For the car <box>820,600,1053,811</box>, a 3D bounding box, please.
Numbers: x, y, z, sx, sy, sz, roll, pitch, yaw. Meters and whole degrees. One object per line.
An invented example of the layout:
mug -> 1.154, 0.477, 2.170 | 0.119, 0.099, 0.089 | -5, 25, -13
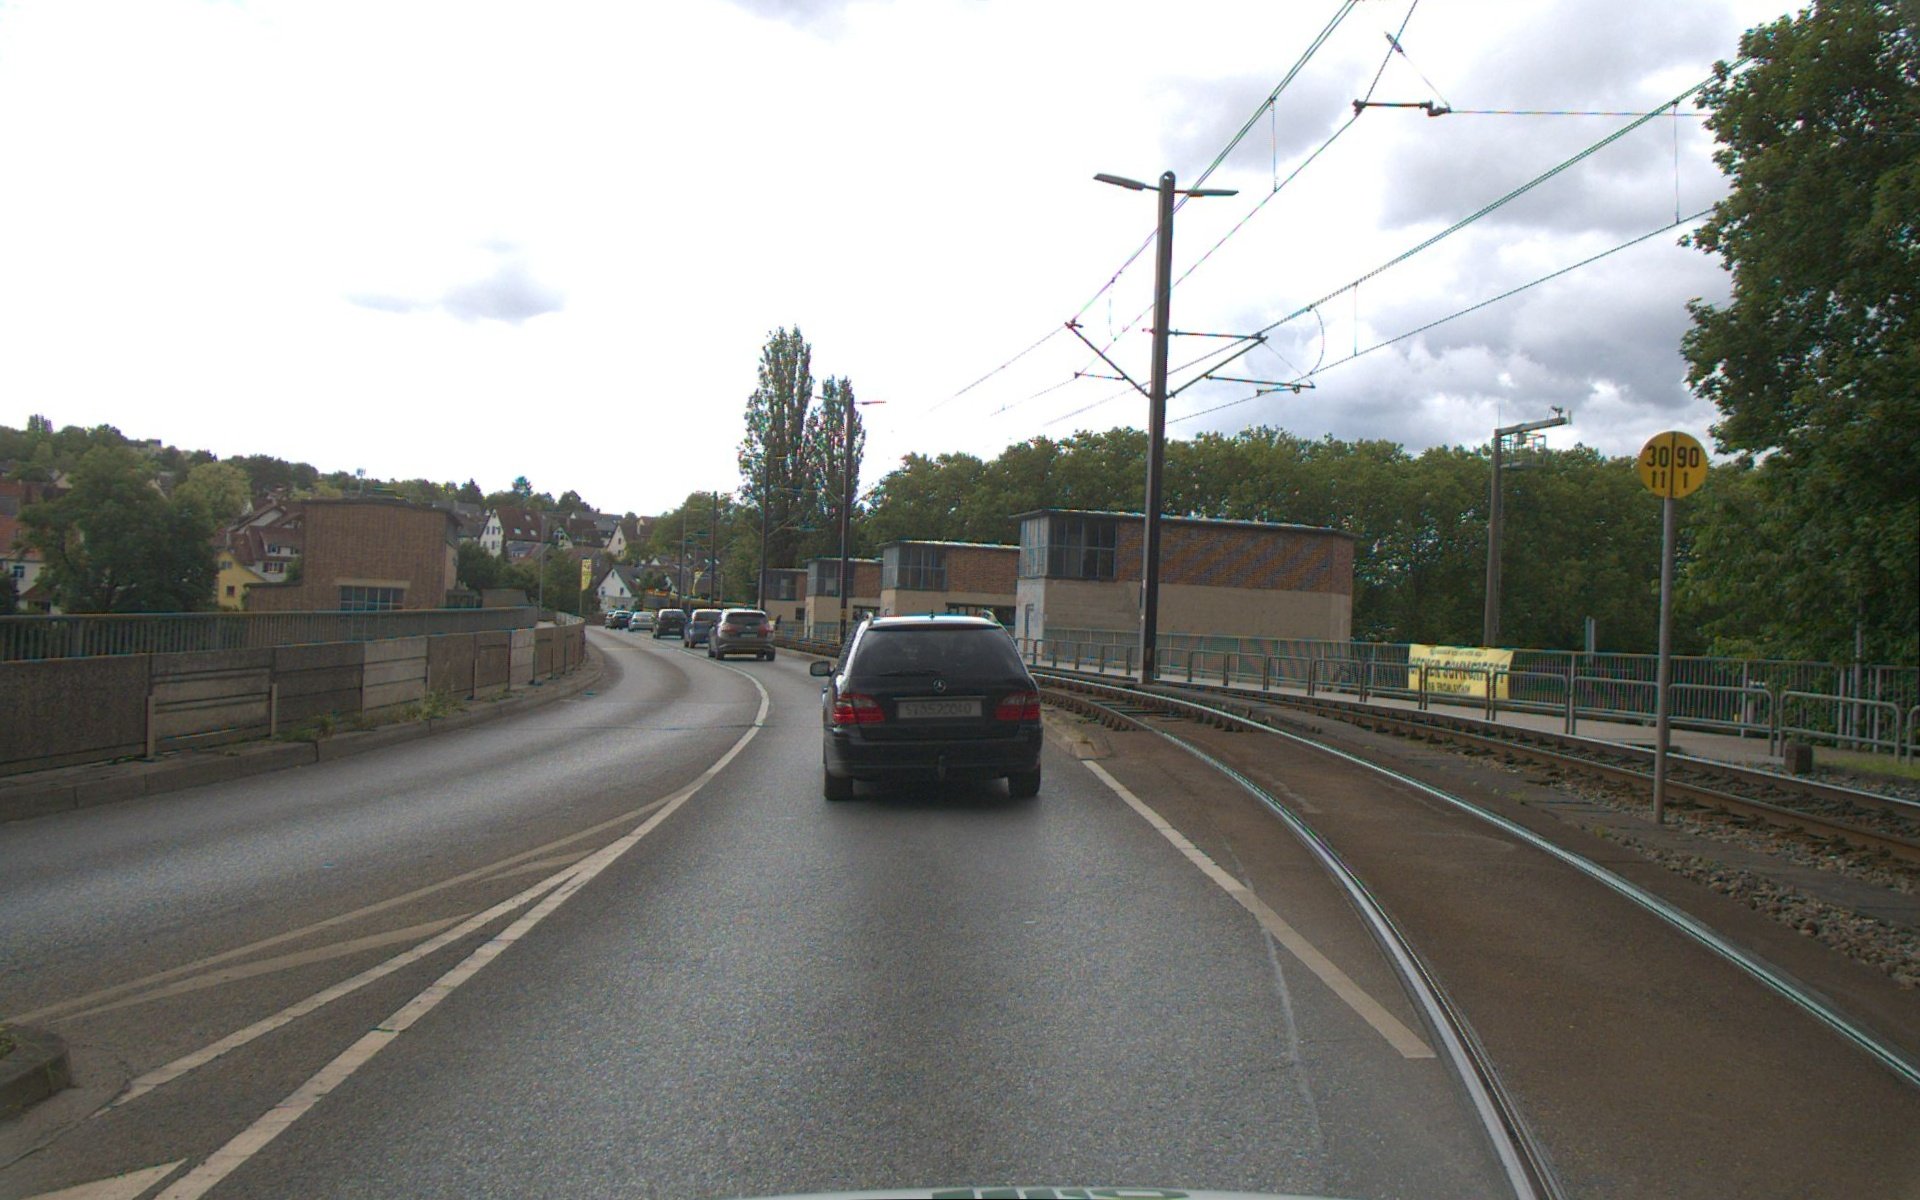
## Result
car -> -0.179, 0.786, 14.575 | 1.723, 1.542, 4.442 | -1, 0, 0

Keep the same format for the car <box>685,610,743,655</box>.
car -> -9.707, 1.238, 65.012 | 1.958, 1.592, 4.983 | -1, 1, -12

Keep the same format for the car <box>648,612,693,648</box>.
car -> -14.581, 1.502, 83.191 | 1.959, 1.702, 4.524 | 0, 0, -14

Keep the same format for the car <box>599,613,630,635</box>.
car -> -27.620, 1.930, 132.033 | 1.961, 1.598, 4.883 | 3, -1, -16

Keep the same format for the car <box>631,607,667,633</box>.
car -> -20.513, 1.299, 108.833 | 1.960, 1.598, 4.887 | 3, -1, -14

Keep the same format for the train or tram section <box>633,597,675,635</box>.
train or tram section -> -30.641, 1.602, 164.823 | 2.834, 3.571, 18.593 | 0, -1, -14

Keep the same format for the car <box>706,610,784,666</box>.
car -> -6.614, 1.130, 50.556 | 1.742, 1.583, 4.222 | 2, -1, -16

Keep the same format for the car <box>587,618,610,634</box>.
car -> -33.022, 2.392, 151.022 | 1.494, 1.354, 4.133 | 3, -1, -20
